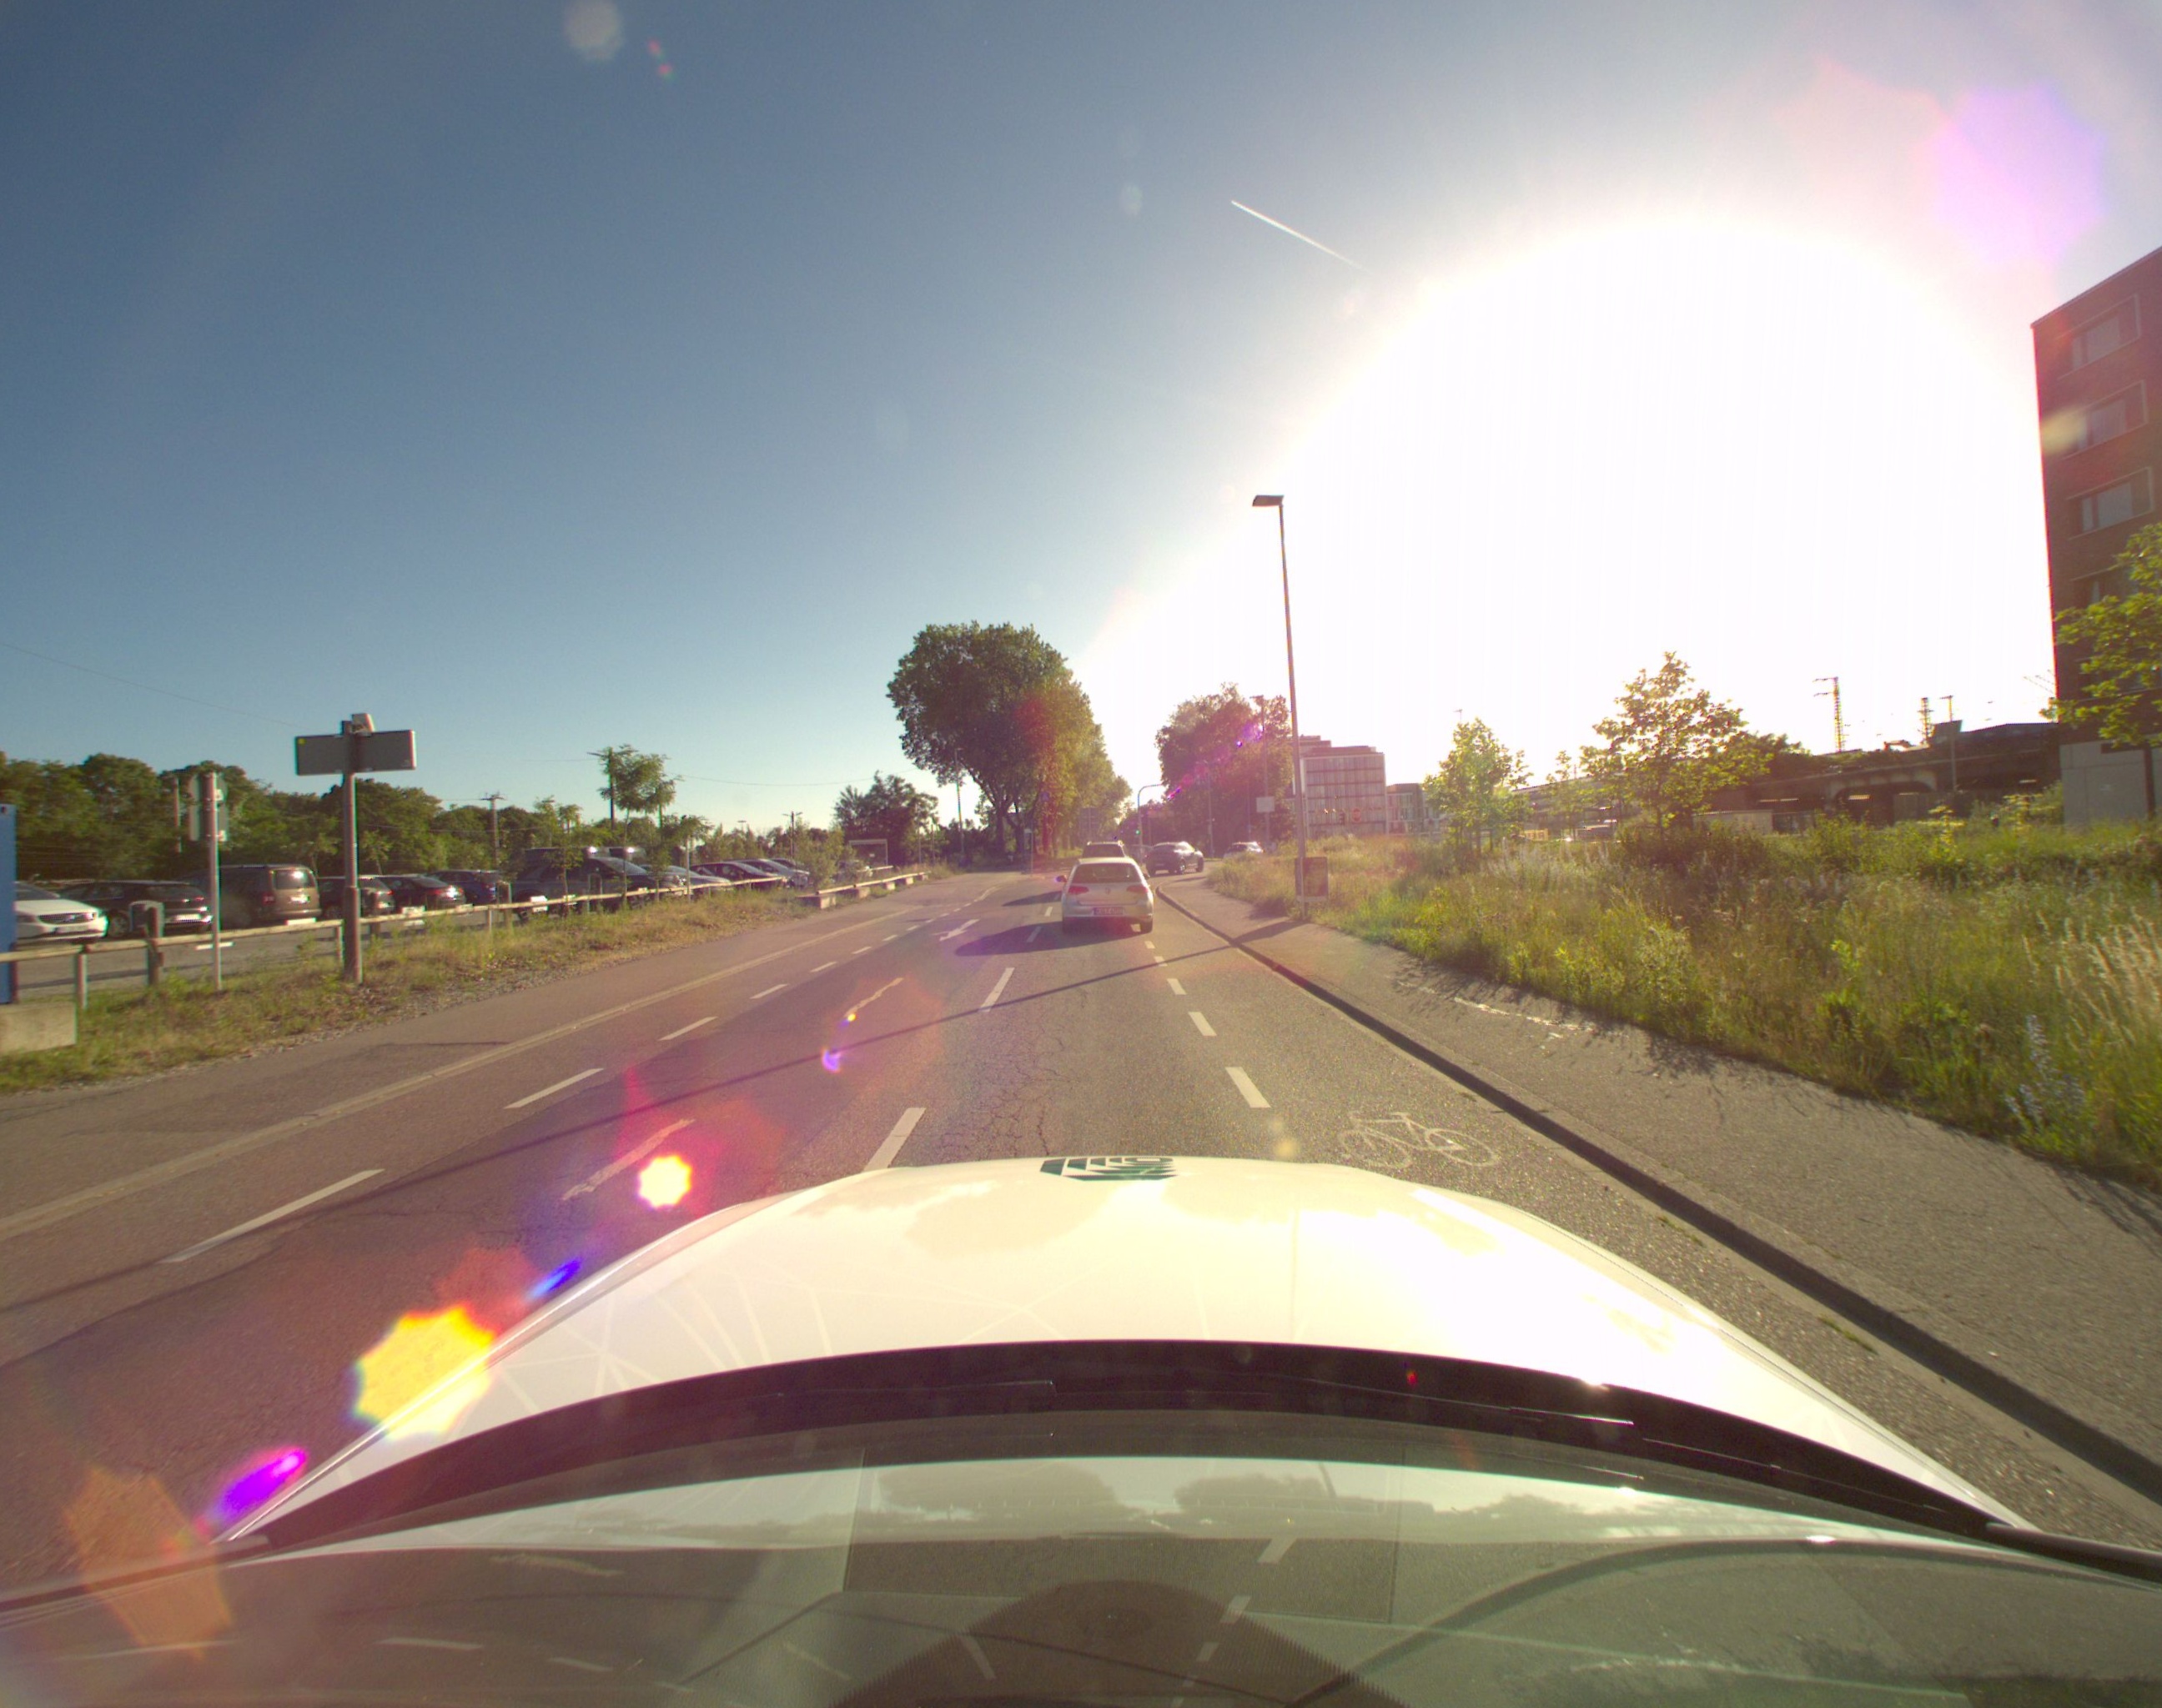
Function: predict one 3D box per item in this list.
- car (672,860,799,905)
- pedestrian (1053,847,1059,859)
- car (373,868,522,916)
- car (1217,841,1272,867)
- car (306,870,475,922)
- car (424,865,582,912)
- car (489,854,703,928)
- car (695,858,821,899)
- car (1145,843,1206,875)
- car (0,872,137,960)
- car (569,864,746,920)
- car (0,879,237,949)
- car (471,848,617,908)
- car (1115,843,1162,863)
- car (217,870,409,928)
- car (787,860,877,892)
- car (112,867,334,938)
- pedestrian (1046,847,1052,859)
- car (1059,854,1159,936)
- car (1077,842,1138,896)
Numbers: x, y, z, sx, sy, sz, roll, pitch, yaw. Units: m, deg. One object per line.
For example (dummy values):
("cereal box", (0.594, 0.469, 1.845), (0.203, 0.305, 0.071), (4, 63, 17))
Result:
("car", (-13.373, 1.085, 31.693), (4.076, 1.557, 1.877), (-2, 0, -1))
("pedestrian", (-3.067, -0.138, 98.596), (0.676, 1.415, 0.684), (-2, 0, 1))
("car", (-24.440, 1.430, 31.547), (4.195, 1.618, 1.877), (-2, 0, -1))
("car", (10.619, -0.018, 52.624), (1.880, 1.596, 4.026), (-2, 0, 37))
("car", (-24.376, 1.462, 28.869), (4.309, 1.618, 1.877), (-2, 0, -1))
("car", (-23.990, 1.400, 33.962), (4.912, 1.705, 2.166), (-2, 0, -1))
("car", (-13.739, 1.012, 23.295), (4.831, 1.835, 1.999), (-2, 0, -1))
("car", (-13.613, 1.011, 34.498), (4.529, 1.557, 1.877), (-2, 0, -1))
("car", (5.037, 0.228, 42.859), (1.897, 1.529, 4.432), (-2, 0, 23))
("car", (-24.184, 1.374, 17.912), (4.560, 1.741, 2.060), (-2, 0, 3))
("car", (-13.538, 1.178, 26.274), (4.581, 1.557, 1.999), (-2, 0, -1))
("car", (-24.712, 1.506, 20.973), (3.871, 1.520, 1.877), (-2, 0, -1))
("car", (-23.953, 1.037, 36.497), (4.912, 2.459, 2.319), (-2, 0, -1))
("car", (5.025, -0.060, 71.753), (2.009, 1.596, 3.955), (-2, 0, -37))
("car", (-24.737, 1.426, 26.340), (4.309, 1.618, 1.877), (-2, 0, -1))
("car", (-13.924, 1.221, 45.787), (4.412, 1.557, 1.877), (-2, 0, -1))
("car", (-24.726, 1.377, 23.607), (4.309, 1.791, 1.877), (-2, 0, -1))
("pedestrian", (-3.909, -0.109, 98.693), (0.676, 1.415, 0.684), (-2, 0, 1))
("car", (0.491, 0.748, 16.859), (1.785, 1.420, 3.998), (-2, 0, -1))
("car", (1.059, 0.498, 30.212), (1.809, 1.768, 4.638), (-2, 0, 7))
